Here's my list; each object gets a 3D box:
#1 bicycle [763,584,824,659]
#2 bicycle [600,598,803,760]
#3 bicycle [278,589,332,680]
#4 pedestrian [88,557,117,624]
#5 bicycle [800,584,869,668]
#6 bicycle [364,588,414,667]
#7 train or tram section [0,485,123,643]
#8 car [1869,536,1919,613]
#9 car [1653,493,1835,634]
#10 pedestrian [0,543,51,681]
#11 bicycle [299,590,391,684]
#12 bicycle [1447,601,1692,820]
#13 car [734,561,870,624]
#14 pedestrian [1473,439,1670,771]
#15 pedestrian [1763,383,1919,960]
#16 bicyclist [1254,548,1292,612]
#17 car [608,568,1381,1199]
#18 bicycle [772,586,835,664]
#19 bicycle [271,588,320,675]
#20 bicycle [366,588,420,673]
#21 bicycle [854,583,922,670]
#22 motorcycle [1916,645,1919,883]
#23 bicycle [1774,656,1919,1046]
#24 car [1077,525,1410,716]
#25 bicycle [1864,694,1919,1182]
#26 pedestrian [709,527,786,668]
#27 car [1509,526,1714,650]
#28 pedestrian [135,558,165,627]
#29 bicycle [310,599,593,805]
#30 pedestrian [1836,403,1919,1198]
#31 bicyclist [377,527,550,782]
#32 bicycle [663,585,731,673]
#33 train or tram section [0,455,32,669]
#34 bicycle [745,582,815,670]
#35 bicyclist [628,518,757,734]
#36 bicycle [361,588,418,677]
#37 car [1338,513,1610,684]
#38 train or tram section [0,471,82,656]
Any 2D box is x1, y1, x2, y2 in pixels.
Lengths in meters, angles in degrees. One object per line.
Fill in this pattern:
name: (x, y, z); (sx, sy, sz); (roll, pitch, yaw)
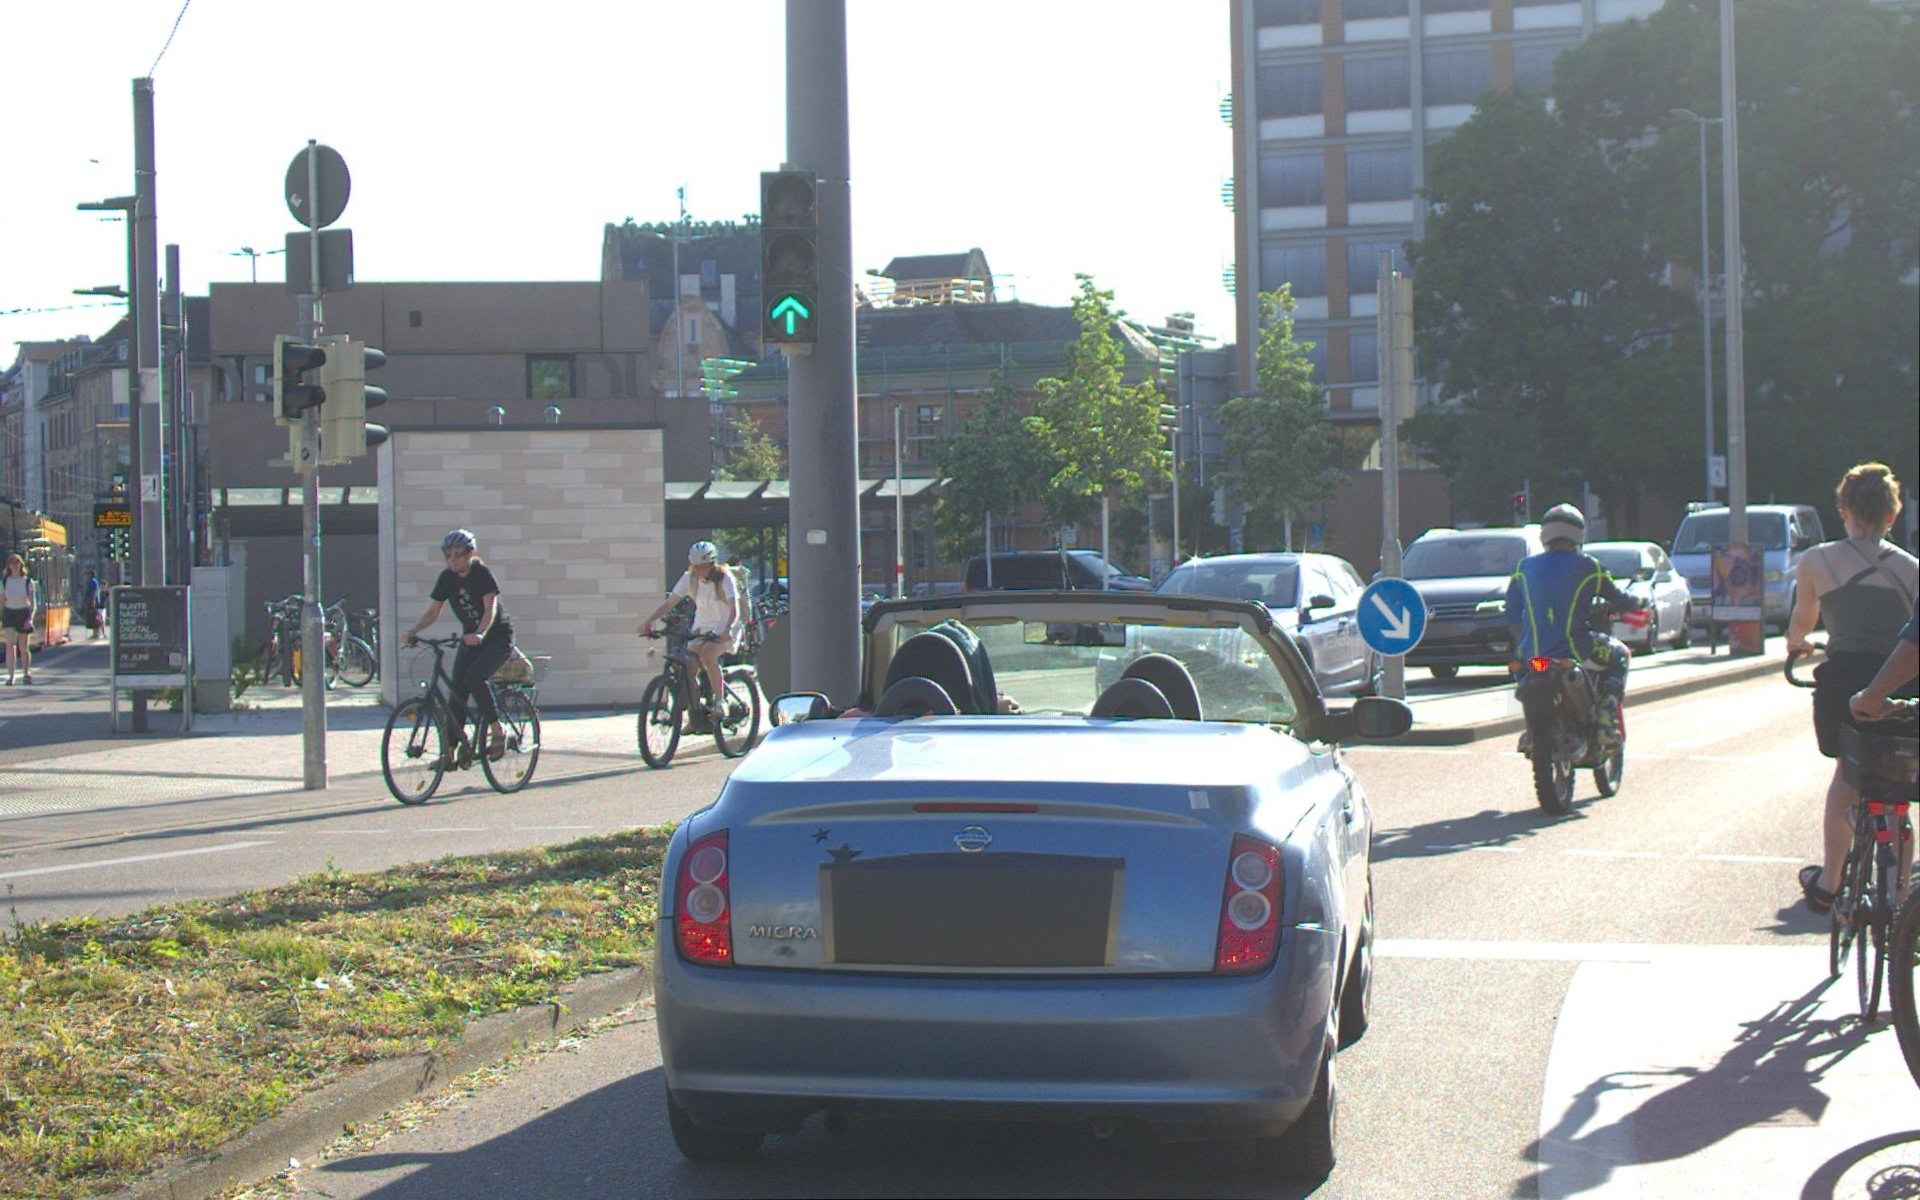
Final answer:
bicycle: (-2.583, 0.322, 53.125); (0.606, 1.111, 1.897); (1, 0, -12)
bicycle: (-1.997, 0.596, 26.911); (0.675, 1.176, 2.181); (-1, 1, 22)
bicycle: (-8.383, 0.430, 43.949); (0.606, 1.111, 1.897); (1, 0, -12)
pedestrian: (-22.396, -0.248, 89.792); (0.604, 1.743, 0.832); (-1, 0, -8)
bicycle: (-1.741, 0.347, 47.465); (0.606, 1.111, 1.897); (1, 0, -12)
bicycle: (-8.351, 0.394, 50.217); (0.606, 1.111, 1.897); (1, 0, -12)
train or tram section: (-22.612, -0.893, 84.472); (3.039, 3.584, 12.054); (1, 0, -9)
car: (20.589, -0.567, 70.091); (3.988, 1.525, 1.804); (-2, 0, -36)
car: (11.788, -0.561, 51.454); (1.910, 1.939, 4.701); (-2, 0, 21)
pedestrian: (-12.045, 0.153, 44.143); (0.637, 1.743, 0.572); (-1, 0, -19)
bicycle: (-7.563, 0.443, 42.344); (0.607, 1.111, 1.896); (1, 0, 5)
bicycle: (3.567, 0.604, 19.932); (0.609, 1.187, 2.410); (1, 0, 30)
car: (-4.089, -0.187, 88.364); (1.640, 1.555, 3.599); (-2, 1, -39)
pedestrian: (3.542, 0.022, 19.885); (0.834, 1.862, 0.919); (1, 0, 30)
pedestrian: (3.061, 0.227, 11.558); (0.659, 1.862, 0.872); (1, 0, 15)
bicyclist: (7.922, -0.509, 87.060); (0.753, 1.593, 0.588); (1, 0, 30)
car: (0.316, 0.648, 9.793); (1.661, 1.436, 4.153); (1, 0, 8)
bicycle: (-2.334, 0.362, 51.153); (0.606, 1.111, 1.897); (1, 0, -12)
bicycle: (-8.864, 0.410, 45.865); (0.606, 1.111, 1.897); (1, 0, -11)
bicycle: (-7.648, 0.404, 46.343); (0.606, 1.111, 1.897); (1, 0, -12)
bicycle: (-0.966, 0.345, 45.449); (0.606, 1.111, 1.897); (1, 0, -10)
motorcycle: (4.918, 0.716, 16.376); (0.614, 1.094, 2.358); (1, 0, 17)
bicycle: (3.041, 0.786, 11.513); (0.564, 1.147, 1.948); (1, 0, 14)
car: (2.591, 0.161, 30.602); (1.739, 1.568, 3.919); (1, 0, 24)
bicycle: (2.596, 0.846, 8.000); (0.554, 1.167, 2.372); (1, 0, 5)
pedestrian: (-2.849, -0.029, 45.991); (0.900, 1.862, 0.687); (1, 0, -12)
car: (8.679, -0.189, 45.575); (1.697, 1.555, 3.974); (-1, 1, 25)
pedestrian: (-20.599, -0.189, 87.413); (0.637, 1.743, 0.736); (-1, 1, -19)
bicycle: (-3.372, 0.655, 23.078); (0.675, 1.246, 2.454); (-3, 0, 22)
pedestrian: (2.661, 0.472, 8.487); (0.806, 1.862, 0.956); (1, 0, 6)
bicyclist: (-3.334, 0.358, 23.143); (0.709, 1.652, 0.900); (-3, 0, 22)
bicycle: (-3.449, 0.372, 45.004); (0.606, 1.111, 1.897); (1, 0, -12)
train or tram section: (-18.192, -0.676, 60.557); (2.880, 3.584, 12.203); (1, 0, -12)
bicycle: (-2.375, 0.327, 45.146); (0.606, 1.111, 1.897); (1, 0, -12)
bicyclist: (-2.077, 0.197, 26.740); (0.709, 1.651, 0.742); (-1, 0, 22)
bicycle: (-7.358, 0.409, 44.280); (0.606, 1.111, 1.897); (1, 0, -12)
car: (5.671, -0.050, 37.462); (1.763, 1.700, 4.525); (-2, 0, 24)
train or tram section: (-20.539, -0.780, 72.546); (3.011, 3.584, 12.203); (1, 0, -10)
